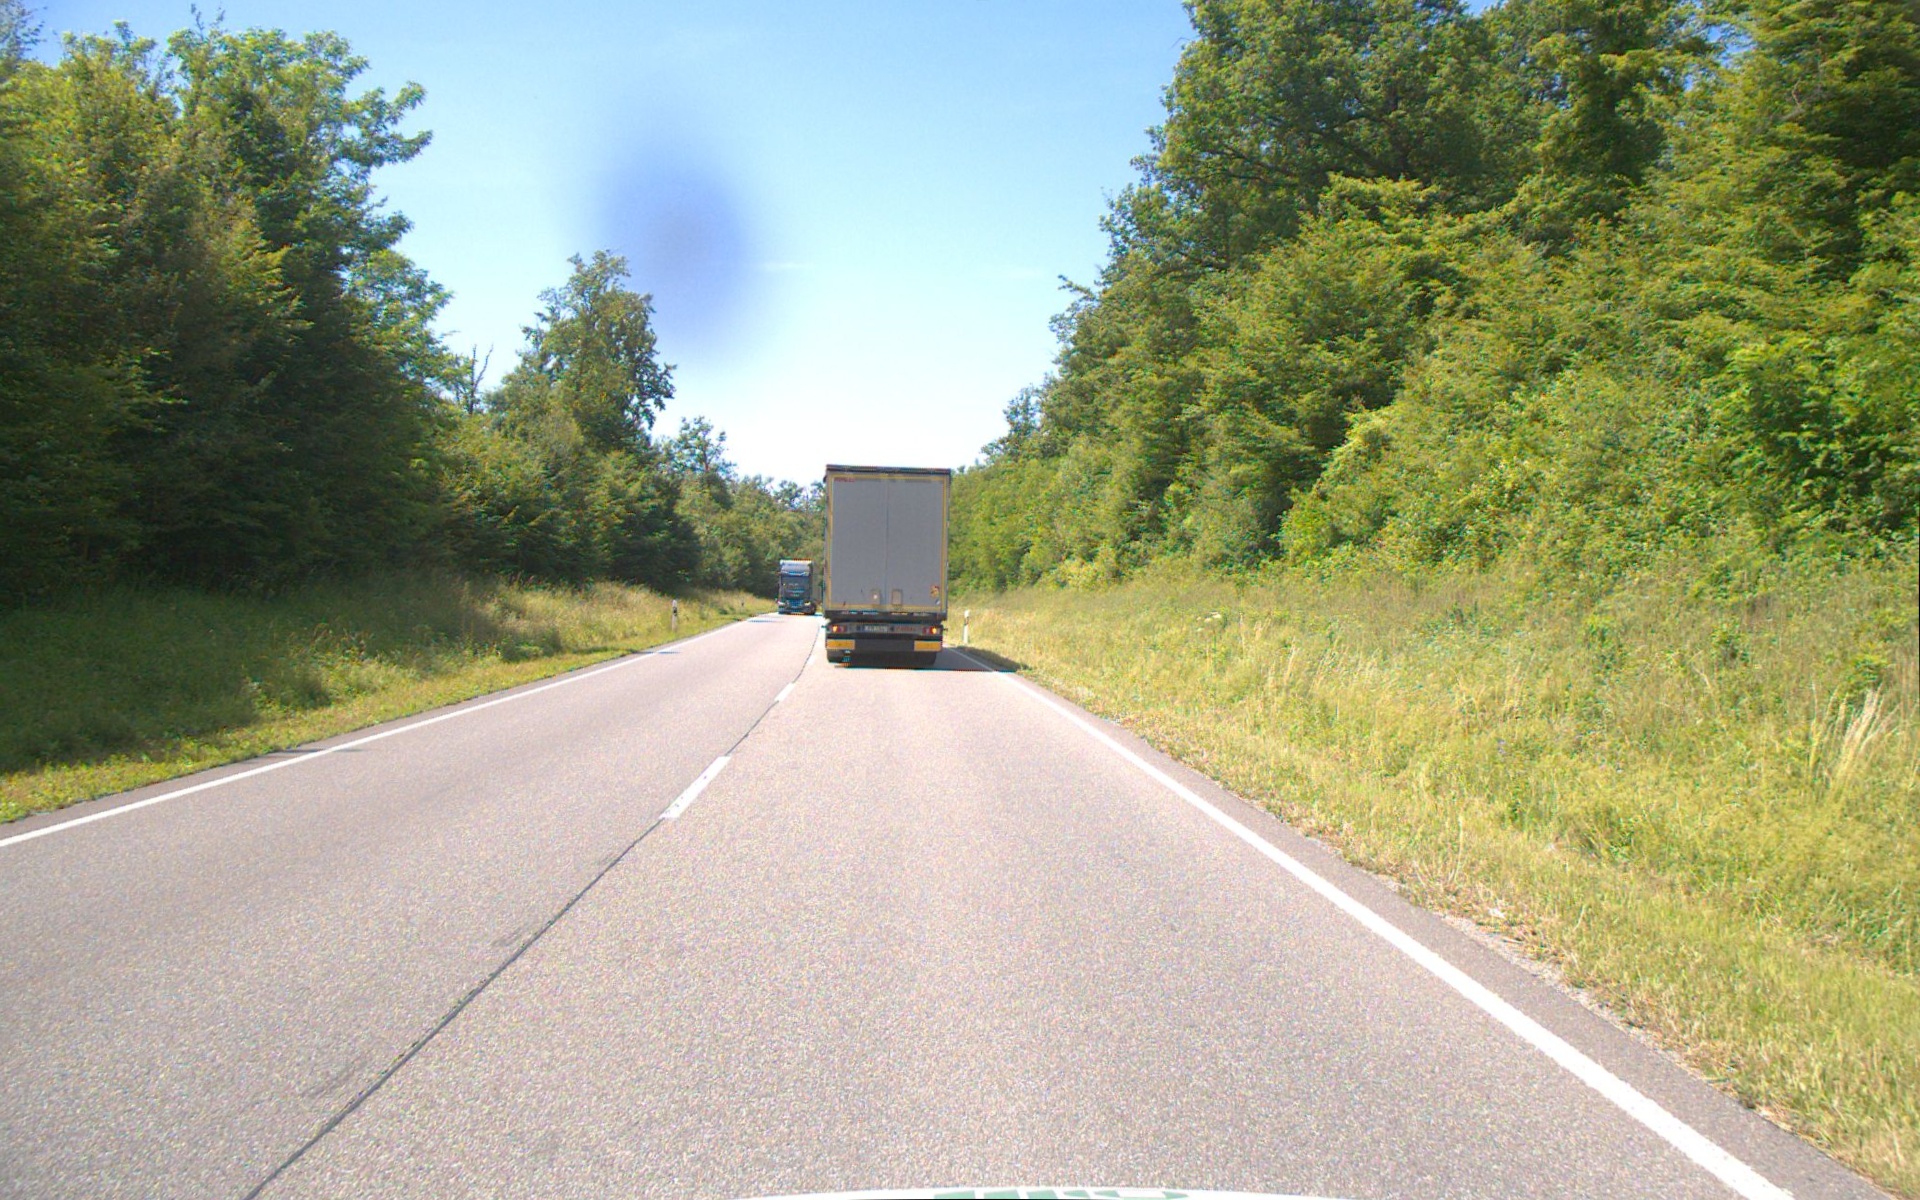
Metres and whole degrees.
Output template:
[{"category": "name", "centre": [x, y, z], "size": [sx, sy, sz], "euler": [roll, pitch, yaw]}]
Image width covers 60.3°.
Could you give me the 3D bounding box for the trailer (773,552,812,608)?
[{"category": "trailer", "centre": [-13.579, -1.605, 134.988], "size": [2.884, 4.327, 13.606], "euler": [0, 0, -5]}]

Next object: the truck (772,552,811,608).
[{"category": "truck", "centre": [-12.997, -1.534, 127.868], "size": [2.865, 4.289, 5.338], "euler": [0, 0, -5]}]

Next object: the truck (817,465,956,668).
[{"category": "truck", "centre": [-1.915, -0.708, 39.079], "size": [2.707, 4.016, 12.187], "euler": [1, 0, -4]}]
